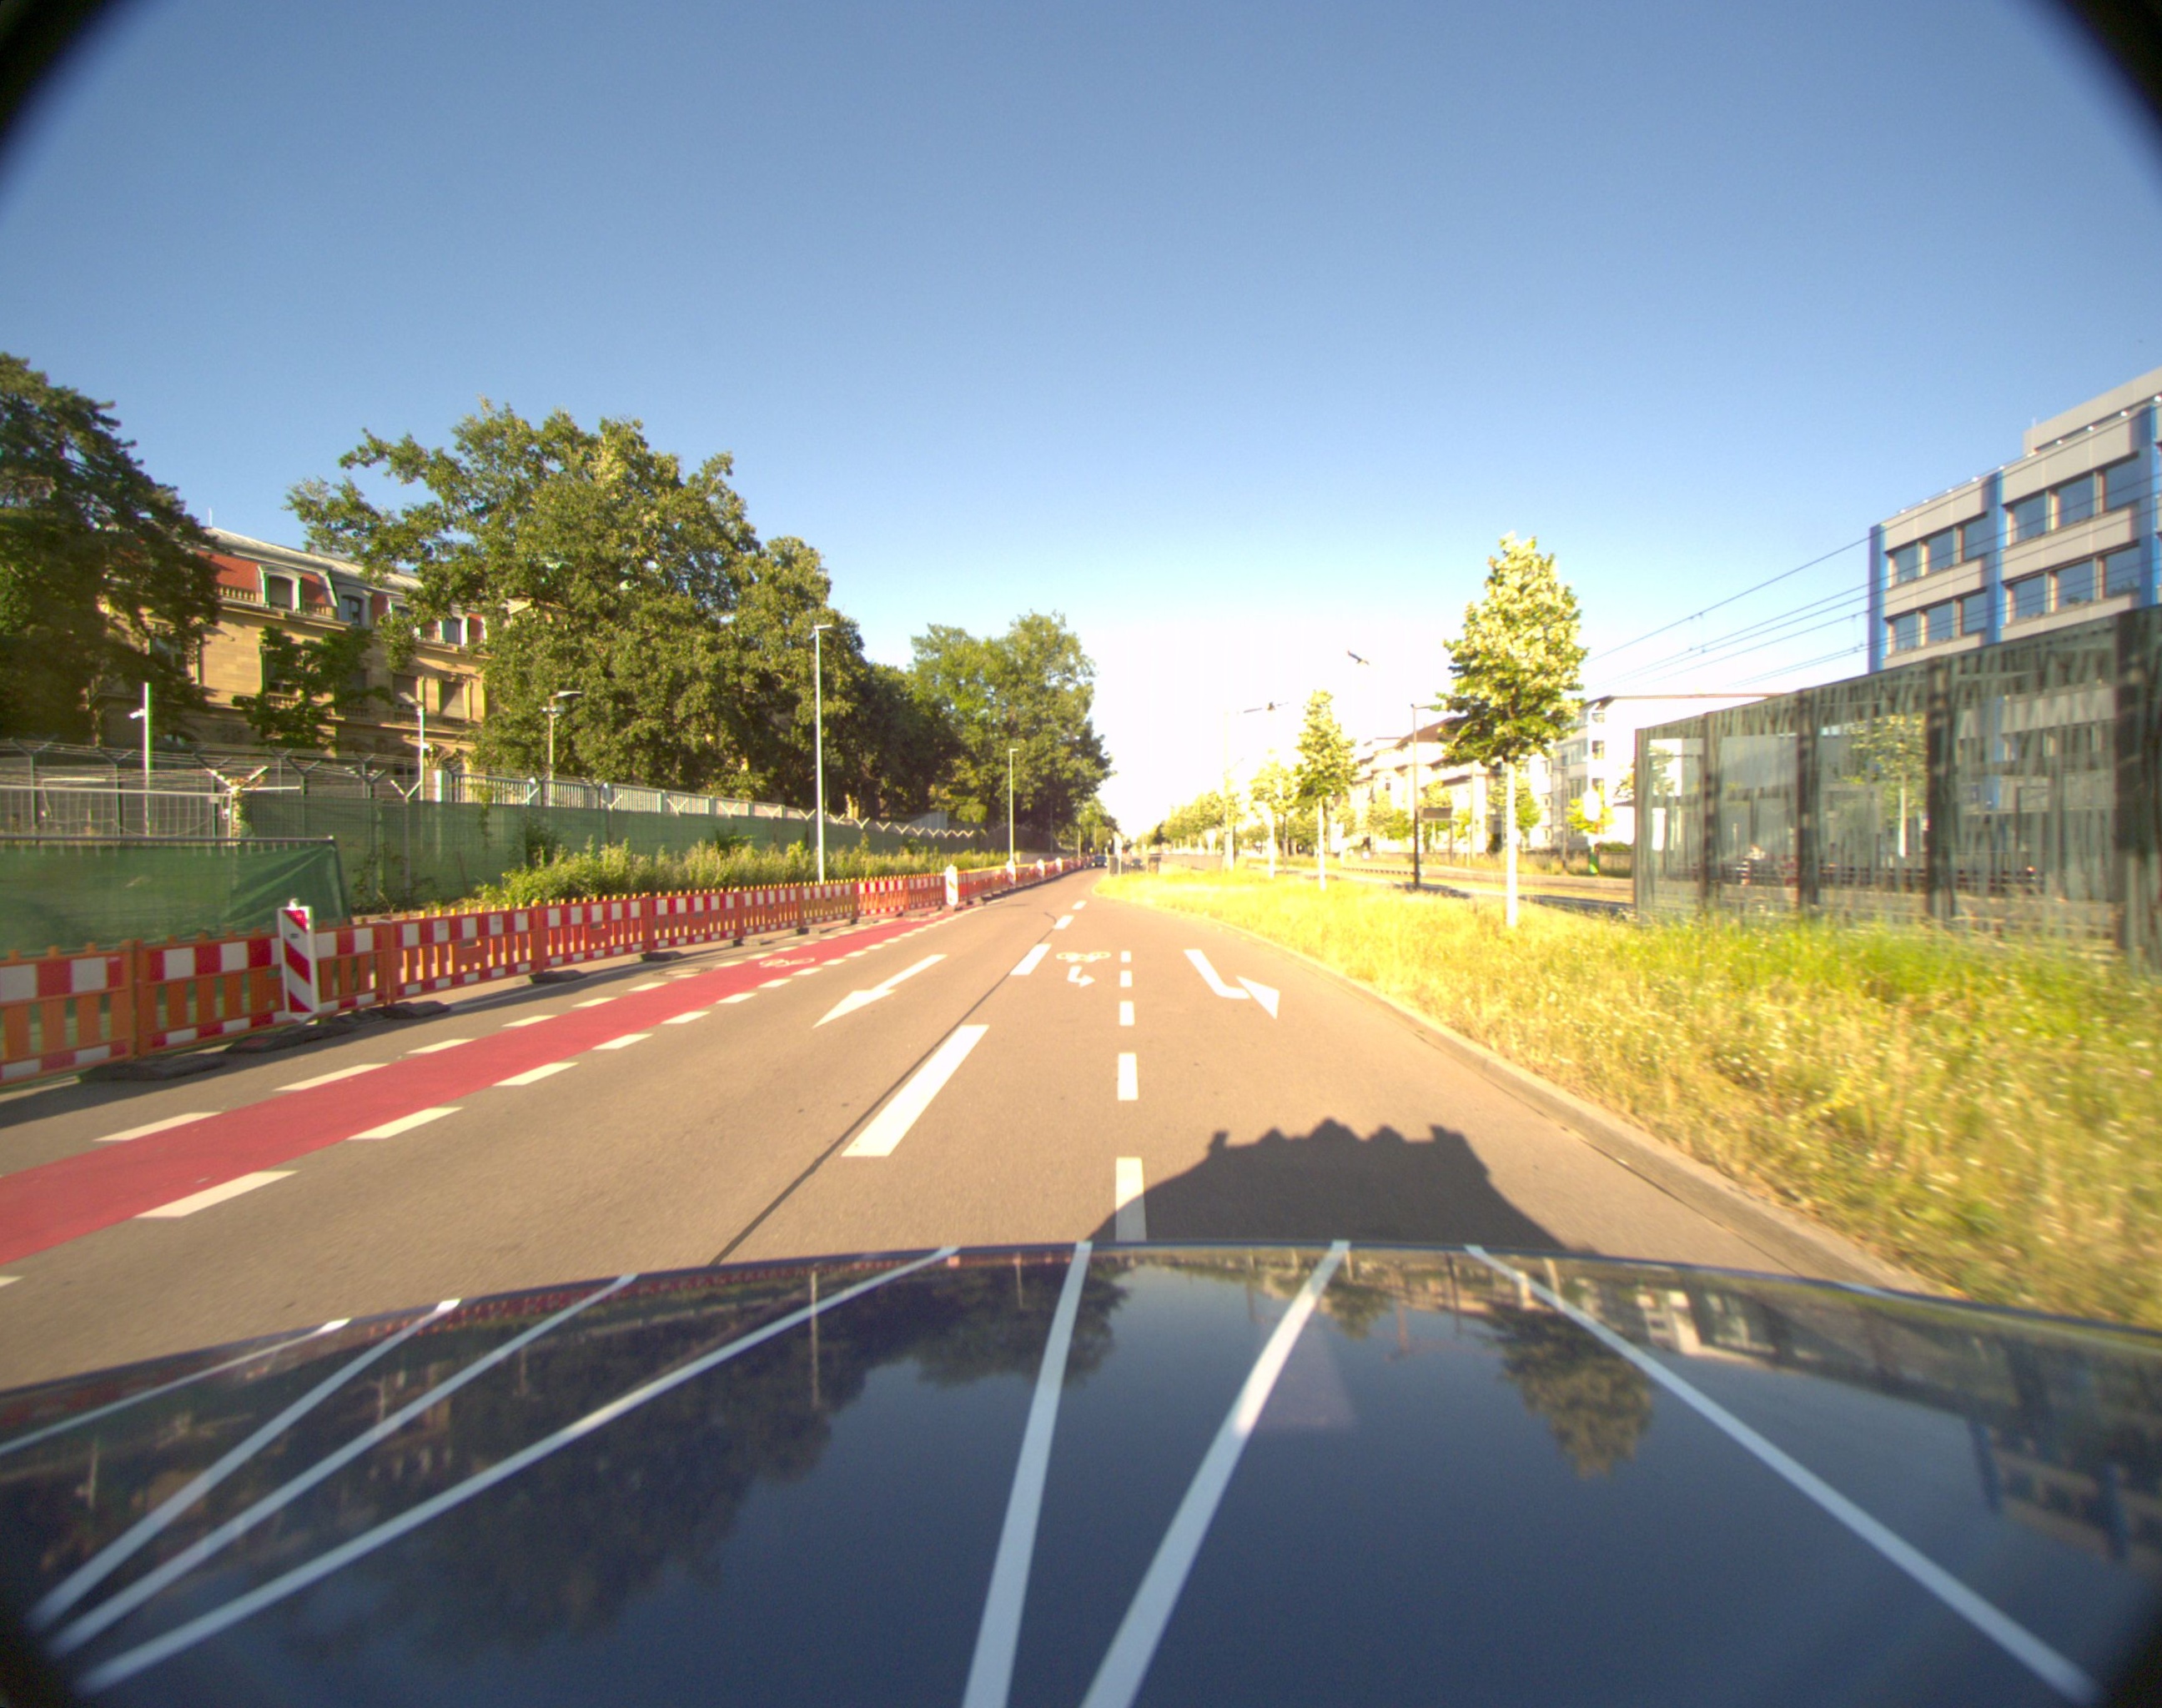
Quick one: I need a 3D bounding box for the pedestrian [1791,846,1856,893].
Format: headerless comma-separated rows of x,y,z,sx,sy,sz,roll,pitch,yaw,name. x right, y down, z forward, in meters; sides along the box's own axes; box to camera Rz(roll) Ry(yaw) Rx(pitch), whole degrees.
19.365,0.398,19.845,0.936,1.190,0.764,0,1,3,pedestrian

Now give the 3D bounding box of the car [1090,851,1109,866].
2.312,0.531,93.857,2.080,1.827,4.001,0,1,4,car

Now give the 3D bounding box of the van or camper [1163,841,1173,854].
21.782,-1.695,189.962,2.510,3.149,7.478,-1,0,6,van or camper
